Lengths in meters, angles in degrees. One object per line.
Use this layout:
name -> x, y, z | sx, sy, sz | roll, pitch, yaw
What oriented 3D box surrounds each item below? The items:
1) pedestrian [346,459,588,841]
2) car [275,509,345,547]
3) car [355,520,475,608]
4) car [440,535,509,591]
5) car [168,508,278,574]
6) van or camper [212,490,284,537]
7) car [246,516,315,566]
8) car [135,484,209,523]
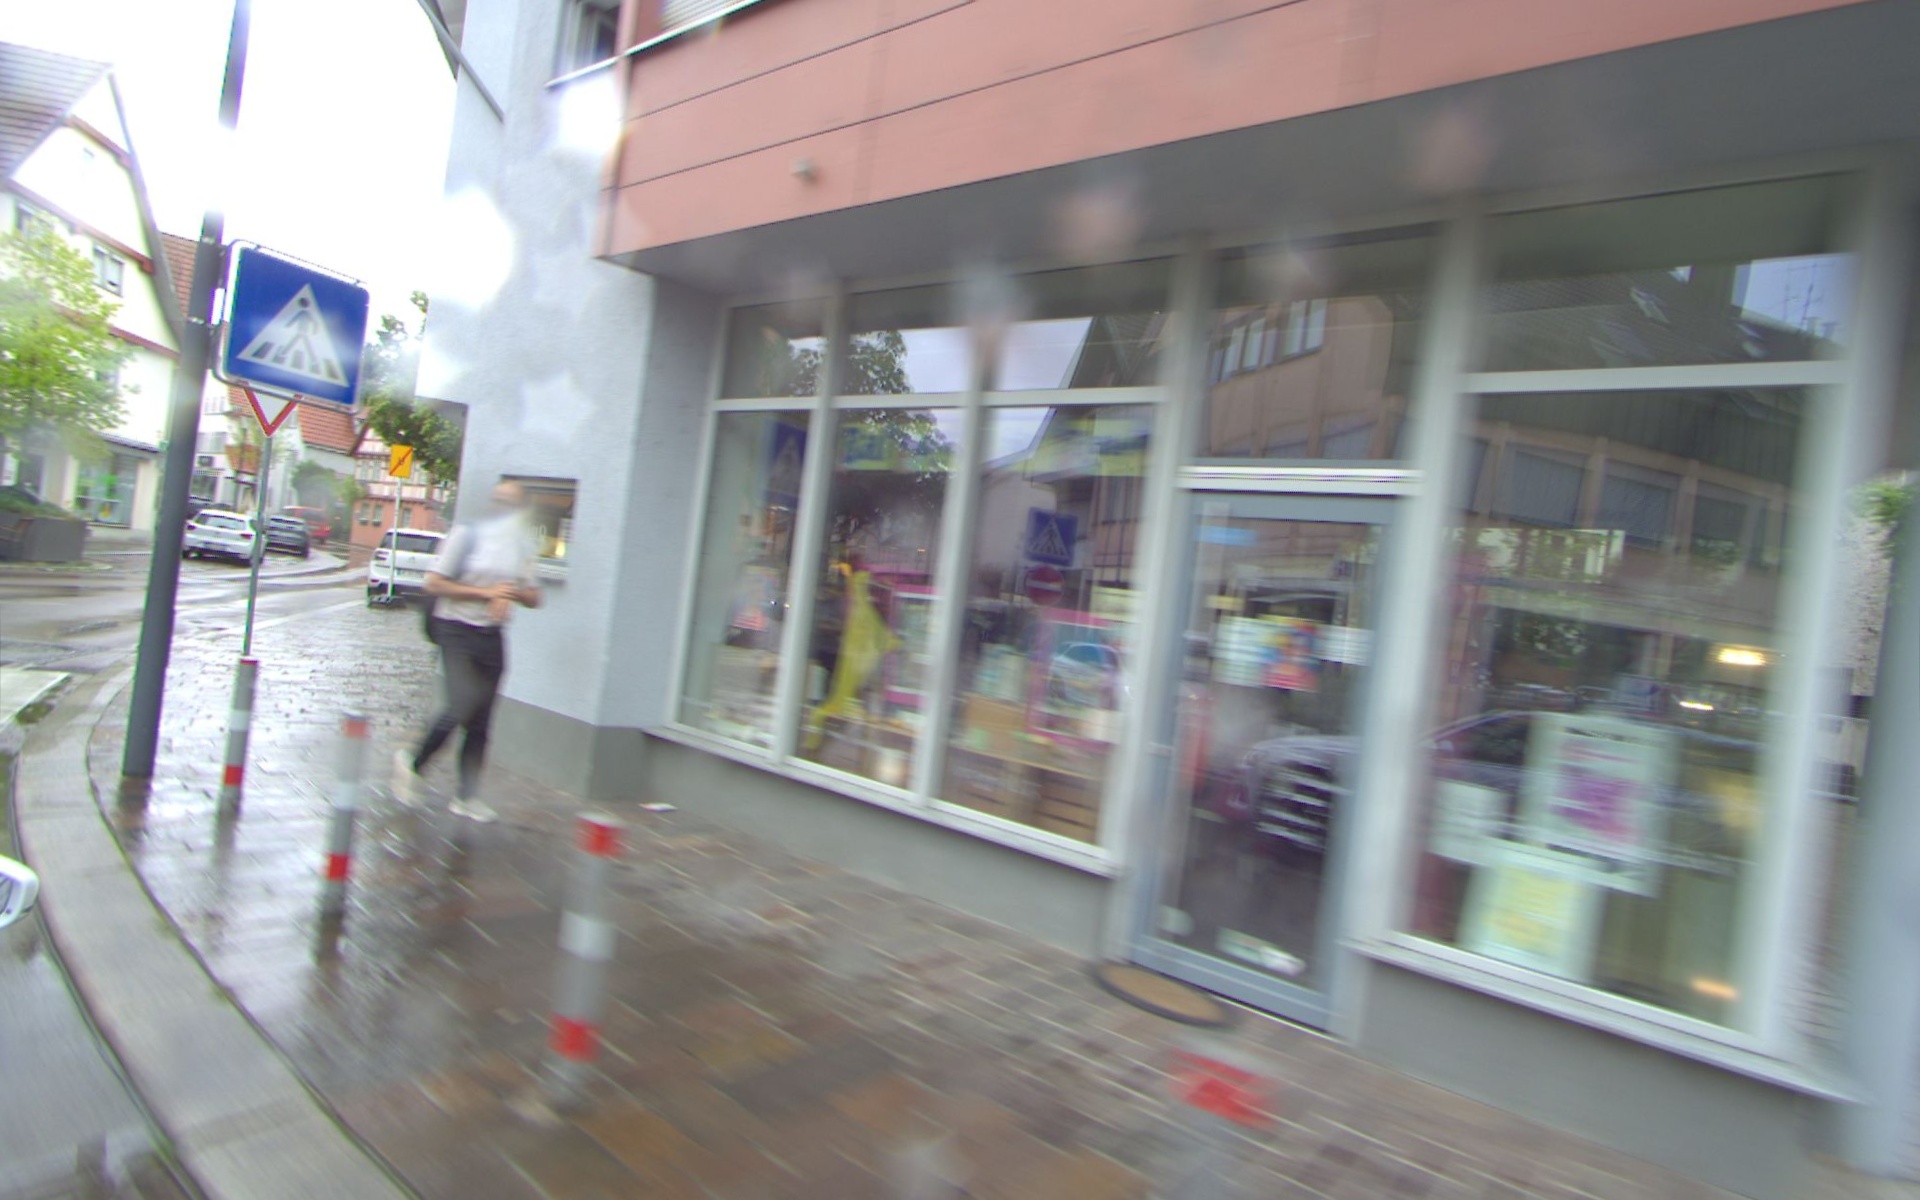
pedestrian -> -2.756, 0.251, 5.630 | 0.851, 1.938, 0.755 | 7, 0, 40
car -> -35.523, -3.966, 54.987 | 3.940, 1.613, 1.991 | 8, 2, 38
car -> -12.692, -0.881, 23.663 | 1.973, 1.680, 3.976 | 6, 1, -23
car -> -16.613, -1.320, 34.572 | 1.790, 1.604, 3.976 | 6, 1, -23
car -> -21.818, -1.772, 29.946 | 1.977, 1.613, 3.970 | 6, 1, -28
van or camper -> -35.097, -4.272, 49.562 | 3.941, 1.944, 1.824 | 8, 2, 39
car -> -26.710, -2.358, 39.640 | 1.979, 1.613, 3.965 | 6, 2, -32
car -> -42.446, -5.188, 54.164 | 3.936, 1.613, 1.993 | 8, 2, 35
